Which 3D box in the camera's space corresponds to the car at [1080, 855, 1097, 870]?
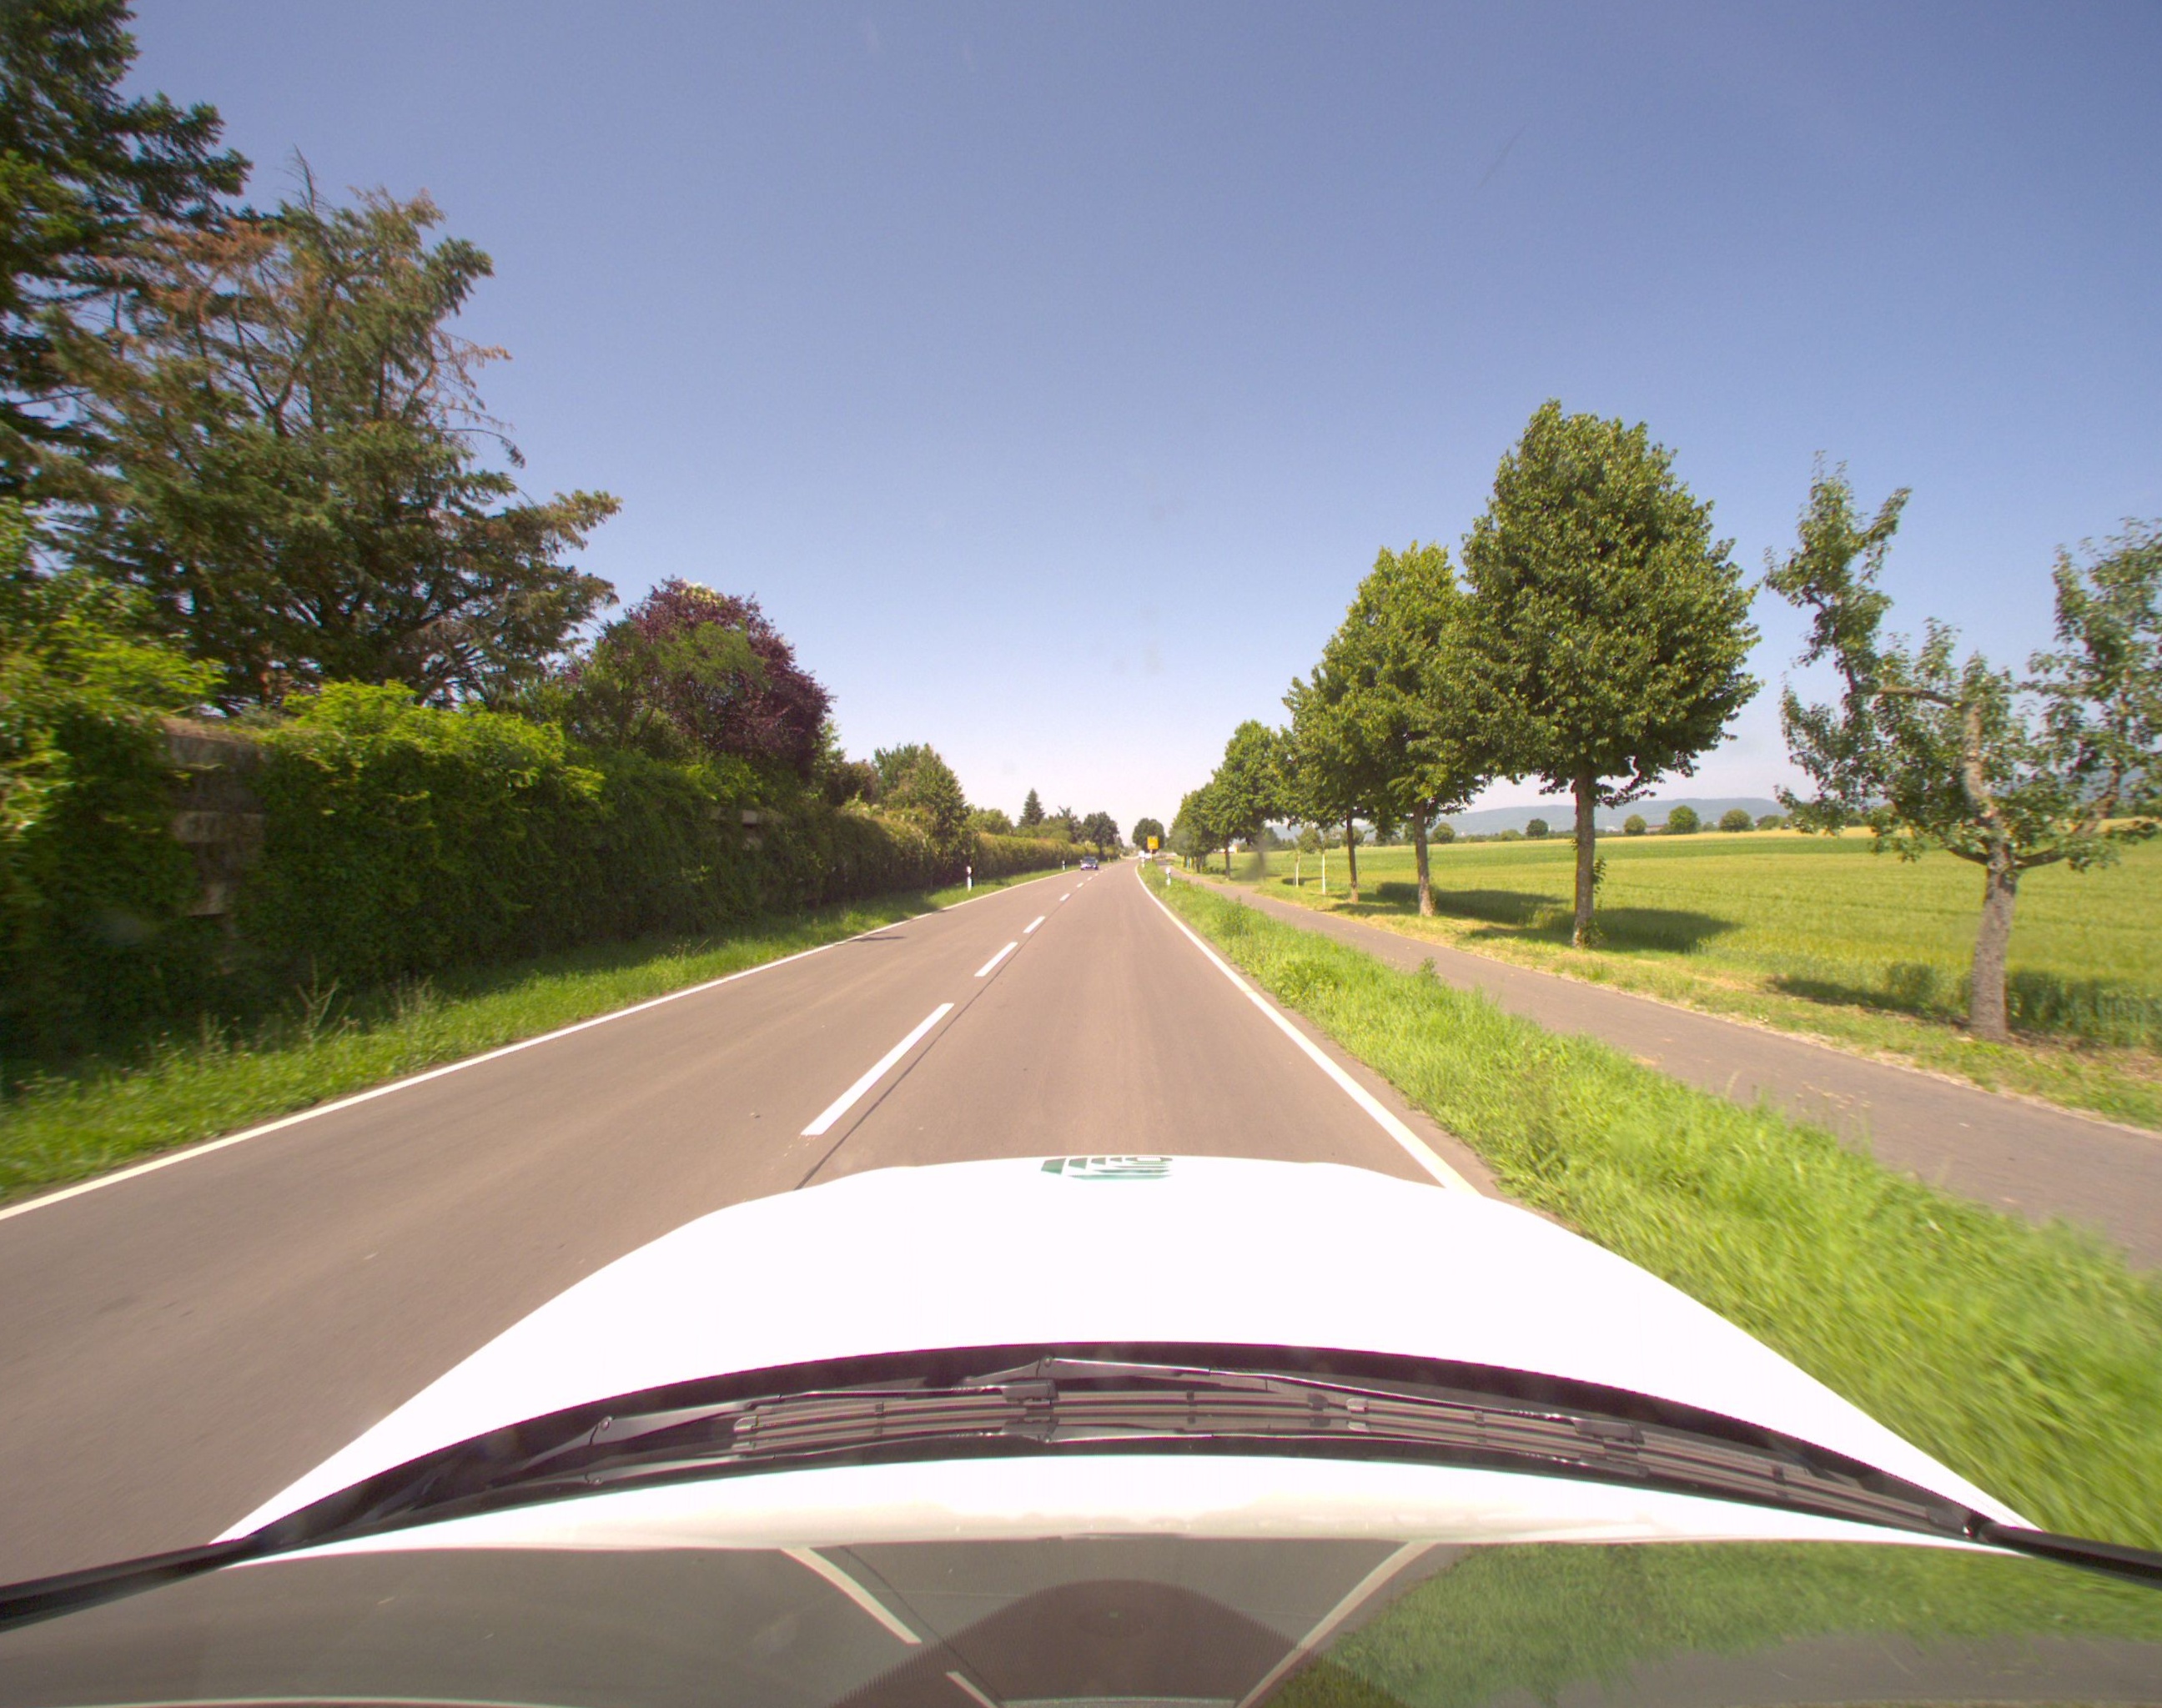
[{"bbox_3d":[0.844,0.935,89.090,1.833,1.467,3.934,-2,0,1],"label":"car"}]
